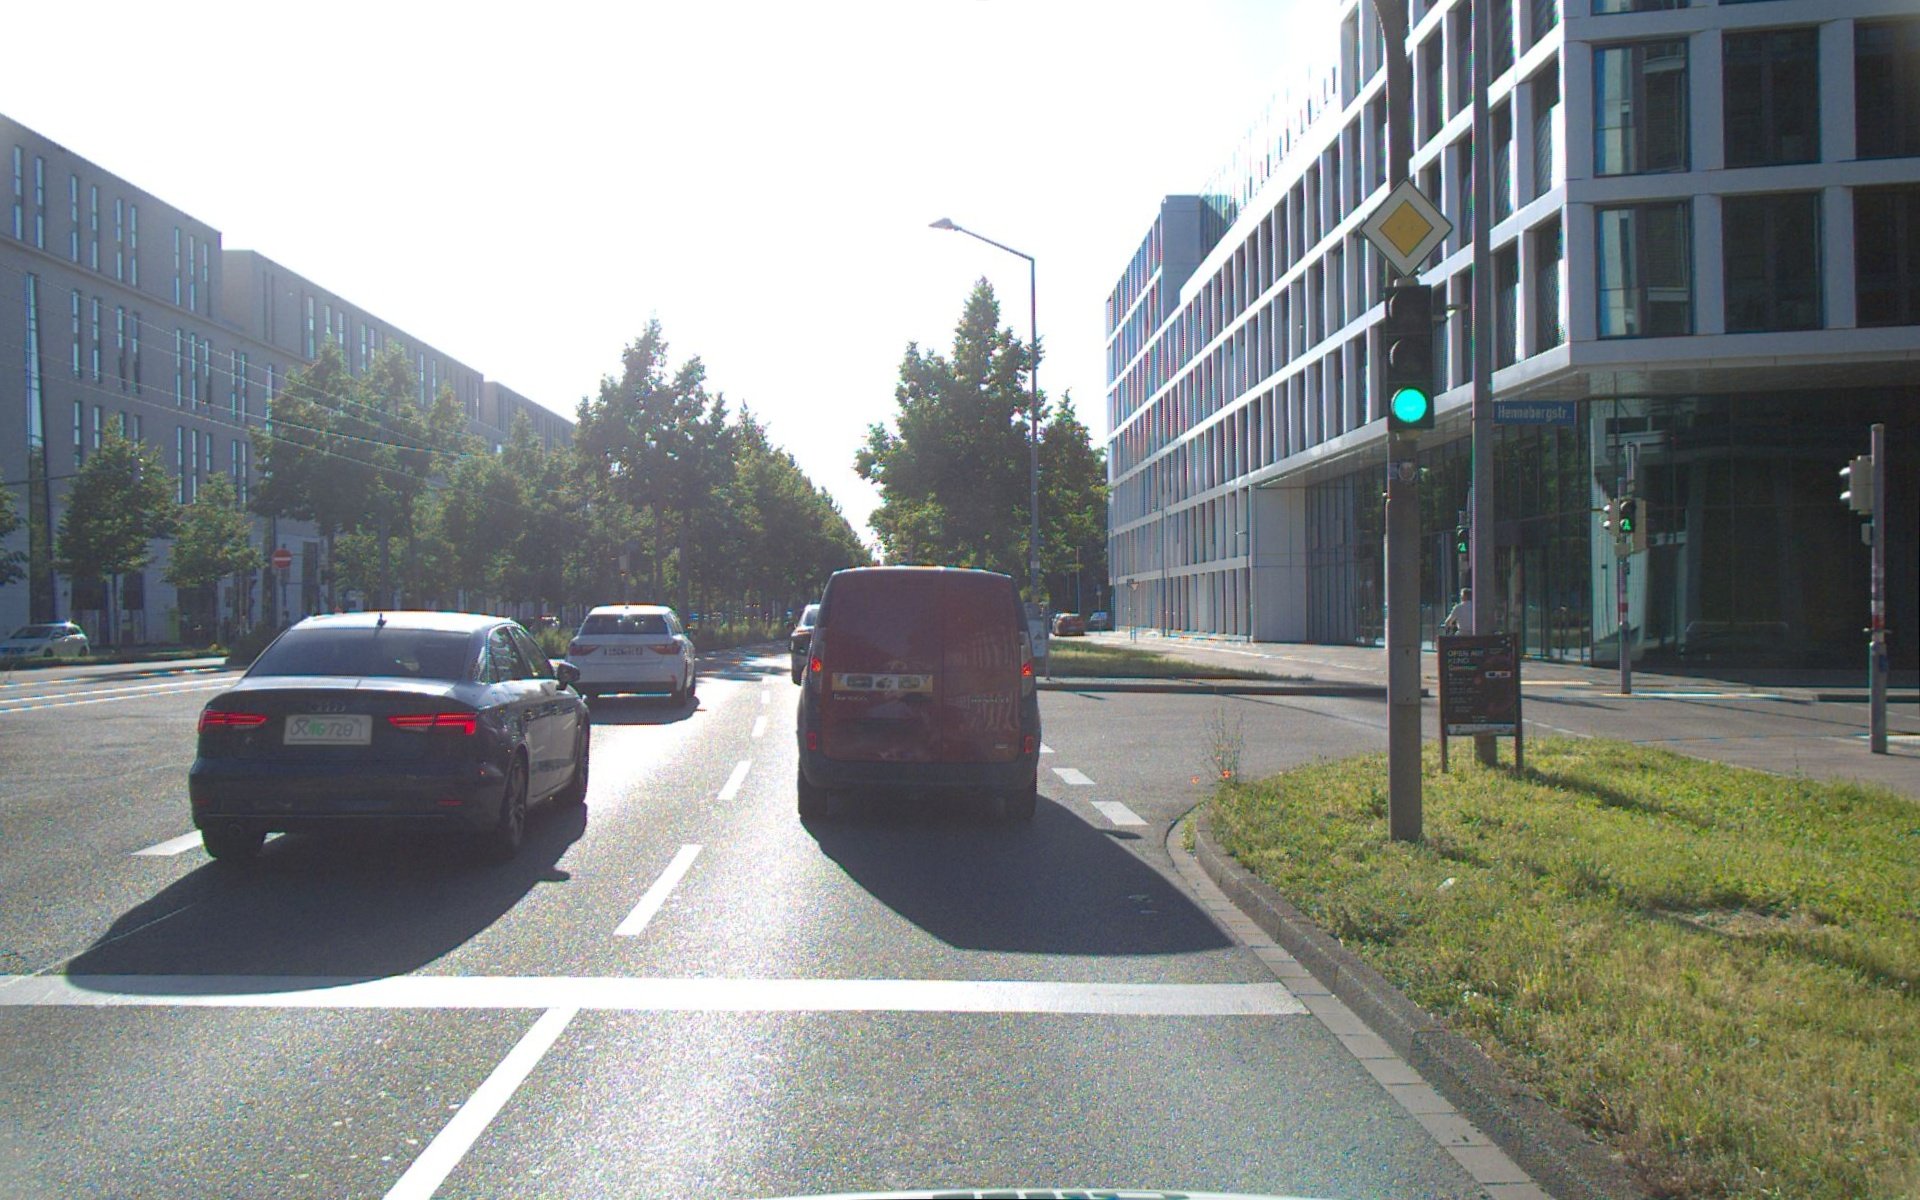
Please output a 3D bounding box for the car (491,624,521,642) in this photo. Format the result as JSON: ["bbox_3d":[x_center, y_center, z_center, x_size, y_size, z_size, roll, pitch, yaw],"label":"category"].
[{"bbox_3d":[-36.897,2.679,134.463,1.548,1.366,3.710,-1,0,-2],"label":"car"}]

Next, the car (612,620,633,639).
[{"bbox_3d":[-37.619,3.306,184.282,1.694,2.049,3.997,-1,0,-4],"label":"car"}]

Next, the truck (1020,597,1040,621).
[{"bbox_3d":[7.779,1.029,184.998,1.795,2.545,5.930,-1,-1,-2],"label":"truck"}]

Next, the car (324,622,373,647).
[{"bbox_3d":[-35.623,2.001,96.377,1.548,1.366,3.710,-1,0,-2],"label":"car"}]

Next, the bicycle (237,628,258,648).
[{"bbox_3d":[-40.479,2.150,93.991,0.518,1.130,1.637,0,-1,-3],"label":"bicycle"}]

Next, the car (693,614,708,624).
[{"bbox_3d":[-39.379,2.866,251.265,1.720,1.601,3.998,-1,0,-2],"label":"car"}]

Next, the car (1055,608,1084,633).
[{"bbox_3d":[7.505,1.399,113.991,1.722,1.640,3.903,-1,0,0],"label":"car"}]

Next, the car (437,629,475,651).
[{"bbox_3d":[-37.026,2.930,121.656,1.740,1.555,3.804,-1,0,-2],"label":"car"}]

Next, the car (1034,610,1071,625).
[{"bbox_3d":[8.540,1.627,152.836,3.327,1.382,1.472,-1,-1,5],"label":"car"}]

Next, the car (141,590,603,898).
[{"bbox_3d":[-3.476,0.747,10.615,1.773,1.554,4.109,-1,0,-5],"label":"car"}]

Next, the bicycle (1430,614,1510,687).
[{"bbox_3d":[8.790,0.847,28.588,0.726,1.194,1.960,-1,0,-1],"label":"bicycle"}]

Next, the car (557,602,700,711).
[{"bbox_3d":[-4.867,0.786,24.762,1.774,1.460,4.106,-1,0,-7],"label":"car"}]

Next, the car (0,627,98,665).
[{"bbox_3d":[-34.965,1.733,63.498,1.548,1.366,4.470,-1,0,-2],"label":"car"}]

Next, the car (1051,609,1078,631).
[{"bbox_3d":[7.509,1.445,119.195,1.781,1.559,3.438,-1,-1,2],"label":"car"}]

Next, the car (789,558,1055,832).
[{"bbox_3d":[-0.273,0.646,13.262,1.771,1.826,4.112,-1,0,-1],"label":"car"}]

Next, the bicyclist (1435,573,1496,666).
[{"bbox_3d":[8.754,0.333,28.652,0.756,1.558,0.849,-1,0,-2],"label":"bicyclist"}]
